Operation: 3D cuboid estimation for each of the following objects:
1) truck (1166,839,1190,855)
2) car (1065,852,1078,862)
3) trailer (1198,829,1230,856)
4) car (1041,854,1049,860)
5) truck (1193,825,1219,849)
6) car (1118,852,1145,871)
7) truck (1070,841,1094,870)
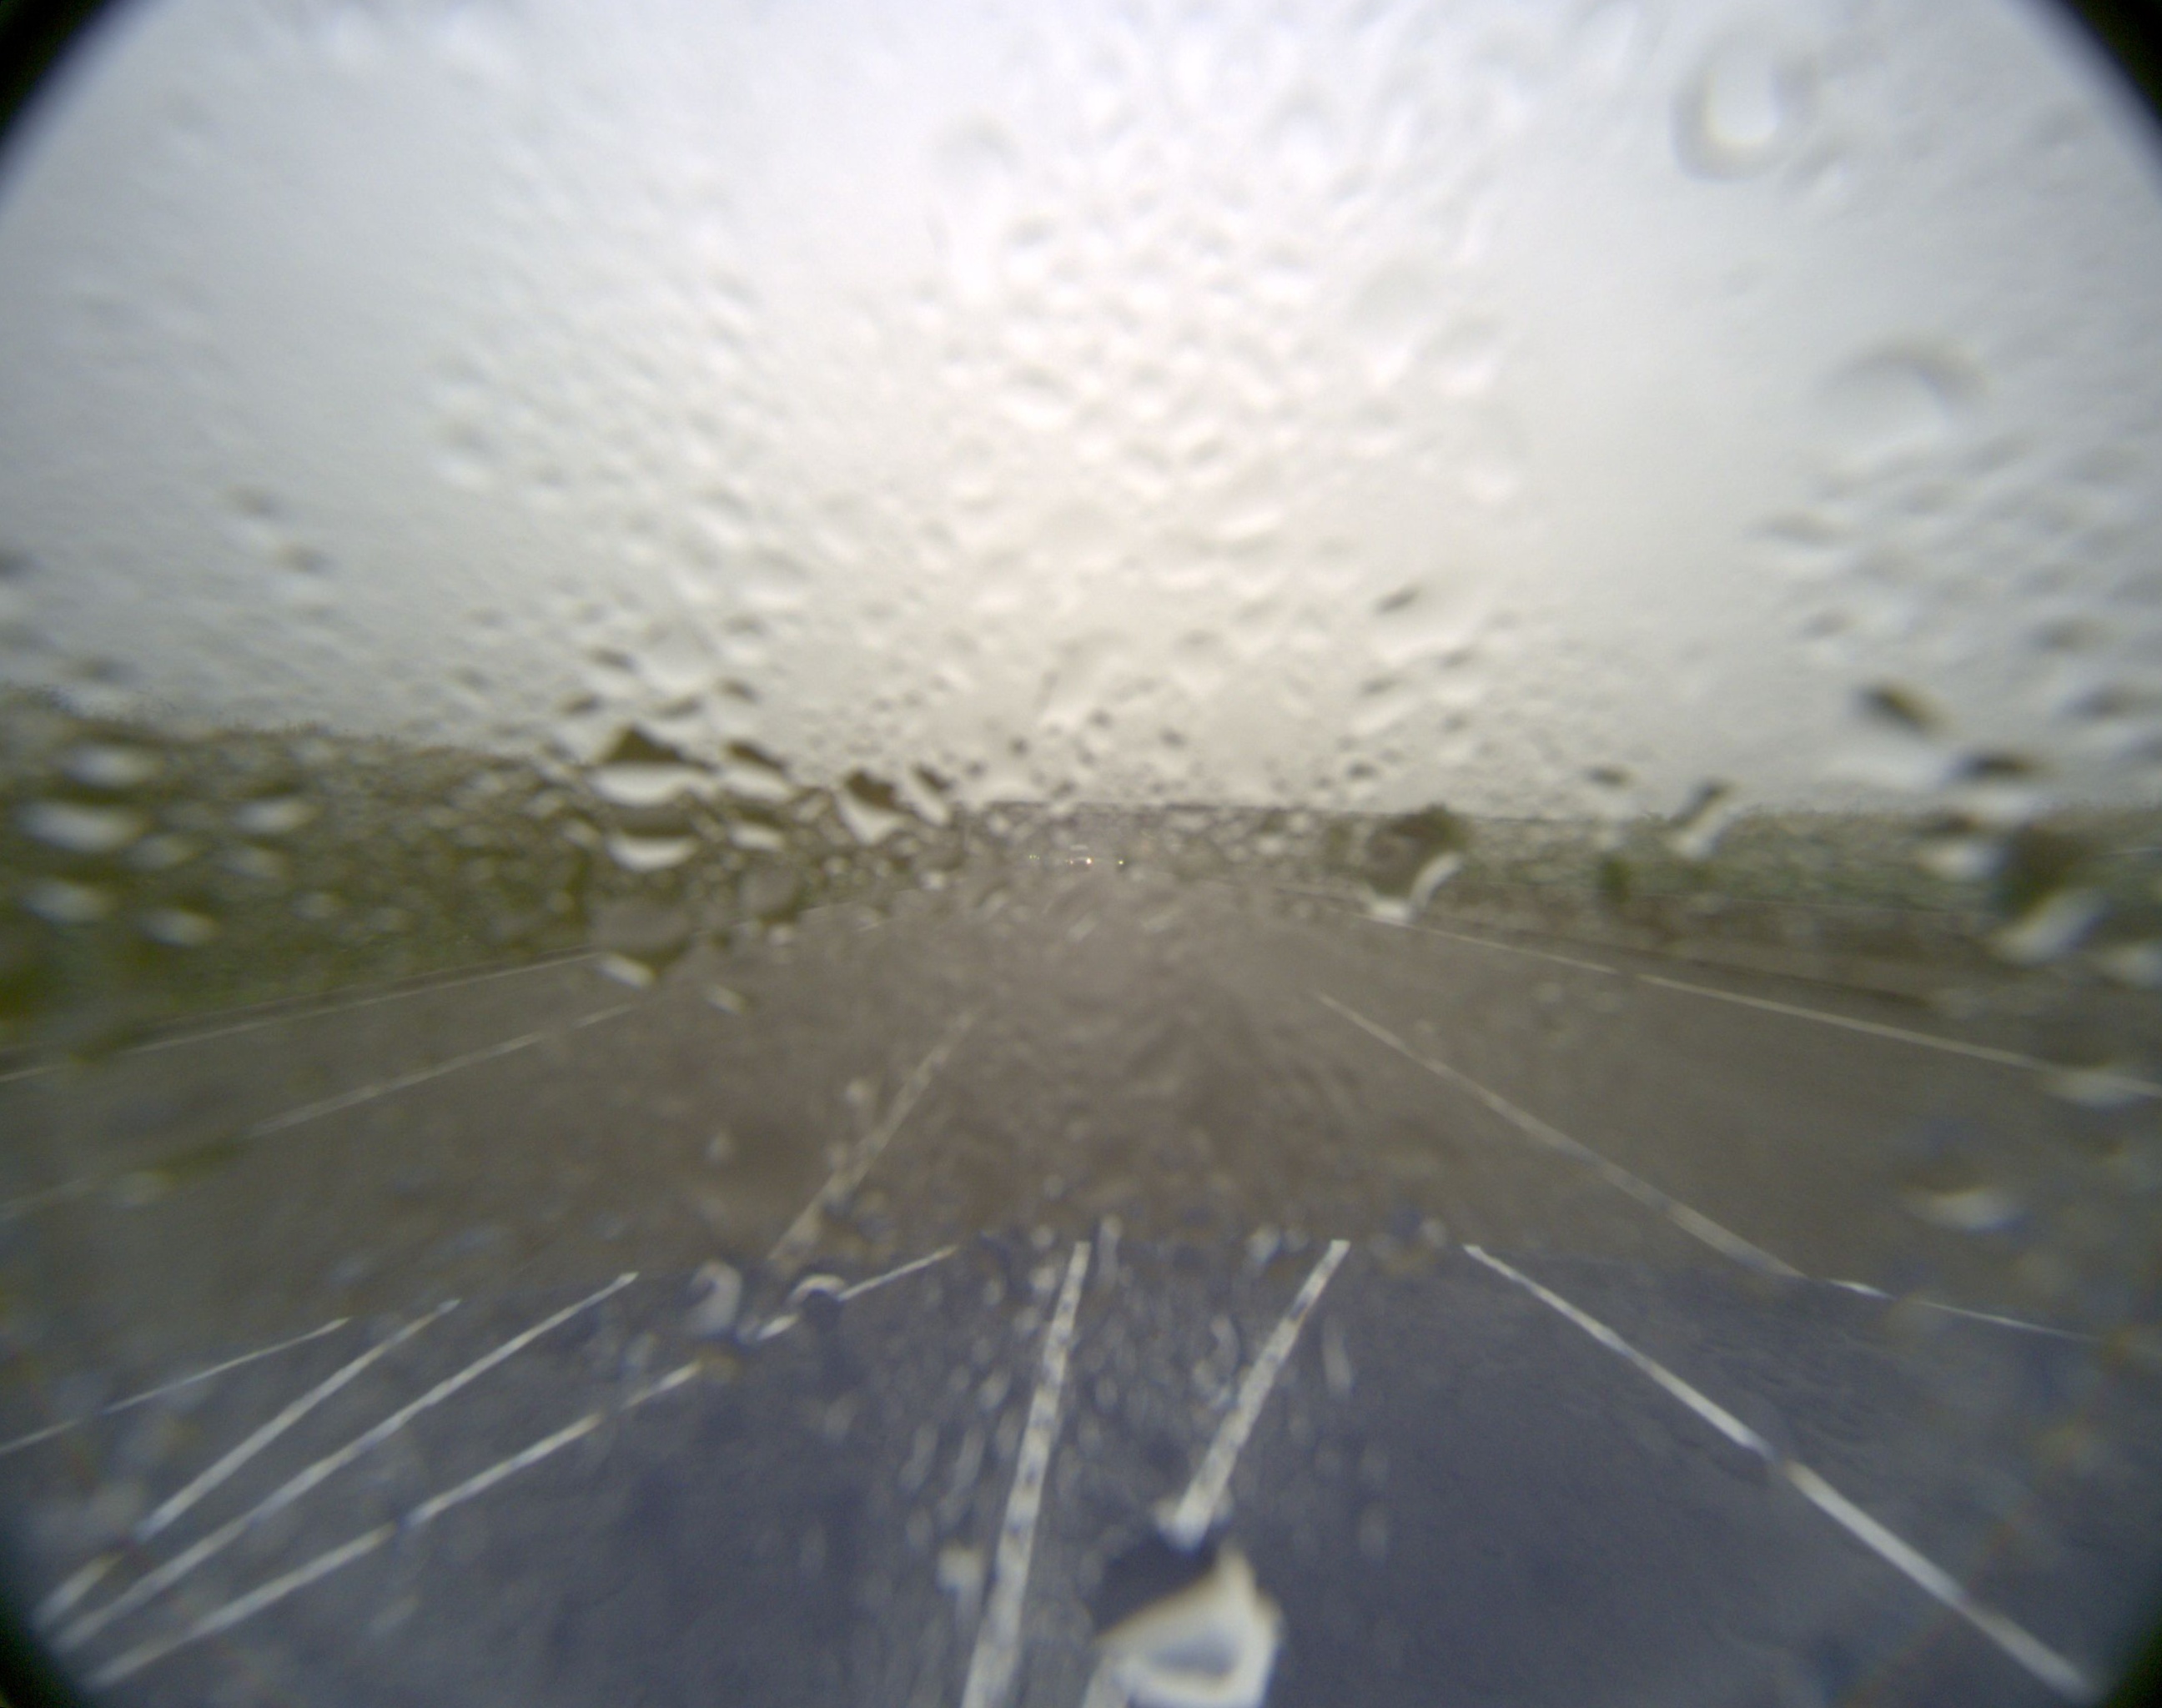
[{"bbox_3d":[14.388,-1.134,113.569,2.481,2.143,7.422,-2,2,-1],"label":"truck"},{"bbox_3d":[-1.633,0.530,125.719,1.999,1.521,3.999,-2,0,-2],"label":"car"},{"bbox_3d":[19.262,-1.722,110.702,2.771,3.600,11.146,-2,2,0],"label":"trailer"},{"bbox_3d":[-9.521,0.701,201.375,1.998,1.543,4.000,-2,0,0],"label":"car"},{"bbox_3d":[19.190,-2.599,117.028,2.786,3.587,5.737,-2,2,-1],"label":"truck"},{"bbox_3d":[4.437,0.621,67.466,1.999,1.608,3.999,-1,0,-1],"label":"car"},{"bbox_3d":[0.030,0.067,76.515,1.999,2.699,7.996,-2,2,-2],"label":"truck"}]
